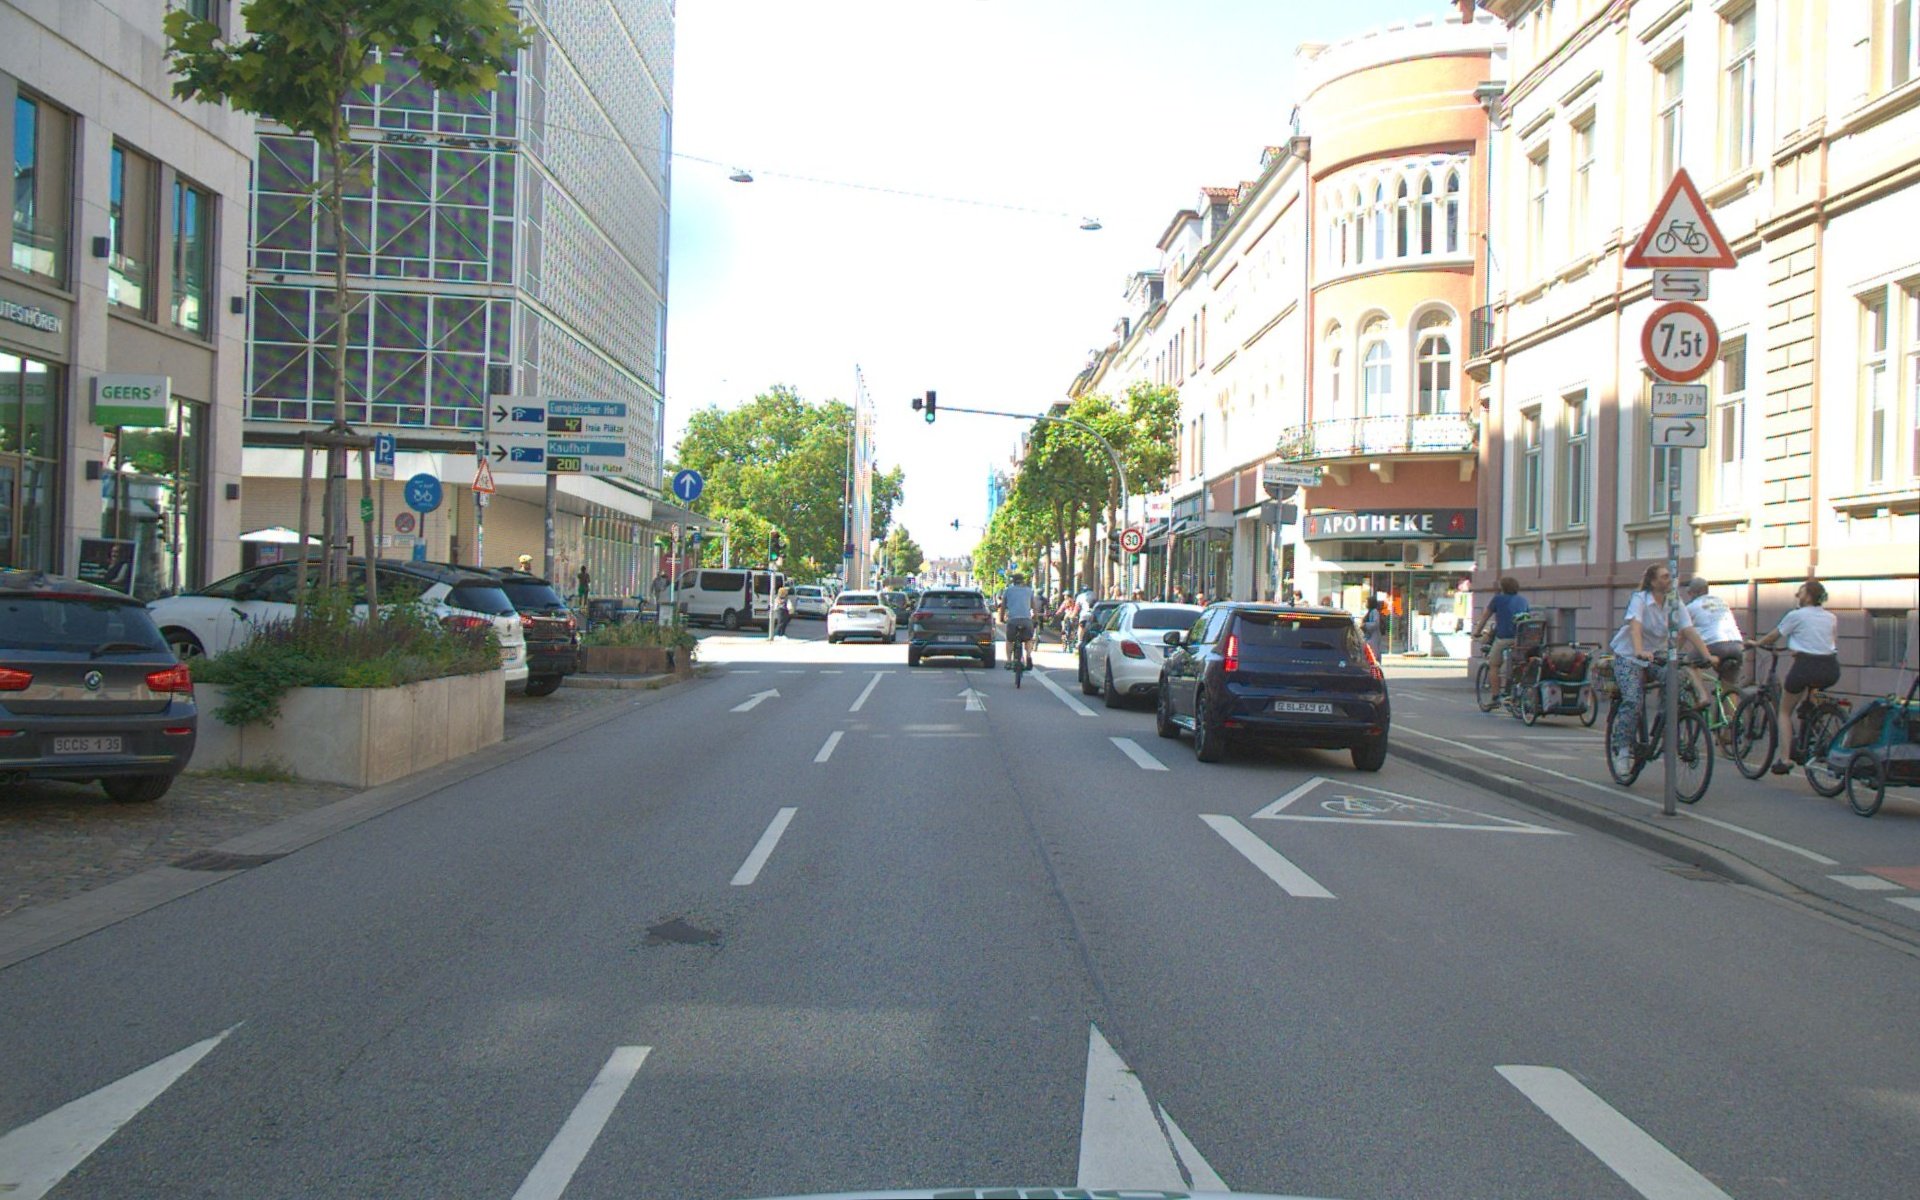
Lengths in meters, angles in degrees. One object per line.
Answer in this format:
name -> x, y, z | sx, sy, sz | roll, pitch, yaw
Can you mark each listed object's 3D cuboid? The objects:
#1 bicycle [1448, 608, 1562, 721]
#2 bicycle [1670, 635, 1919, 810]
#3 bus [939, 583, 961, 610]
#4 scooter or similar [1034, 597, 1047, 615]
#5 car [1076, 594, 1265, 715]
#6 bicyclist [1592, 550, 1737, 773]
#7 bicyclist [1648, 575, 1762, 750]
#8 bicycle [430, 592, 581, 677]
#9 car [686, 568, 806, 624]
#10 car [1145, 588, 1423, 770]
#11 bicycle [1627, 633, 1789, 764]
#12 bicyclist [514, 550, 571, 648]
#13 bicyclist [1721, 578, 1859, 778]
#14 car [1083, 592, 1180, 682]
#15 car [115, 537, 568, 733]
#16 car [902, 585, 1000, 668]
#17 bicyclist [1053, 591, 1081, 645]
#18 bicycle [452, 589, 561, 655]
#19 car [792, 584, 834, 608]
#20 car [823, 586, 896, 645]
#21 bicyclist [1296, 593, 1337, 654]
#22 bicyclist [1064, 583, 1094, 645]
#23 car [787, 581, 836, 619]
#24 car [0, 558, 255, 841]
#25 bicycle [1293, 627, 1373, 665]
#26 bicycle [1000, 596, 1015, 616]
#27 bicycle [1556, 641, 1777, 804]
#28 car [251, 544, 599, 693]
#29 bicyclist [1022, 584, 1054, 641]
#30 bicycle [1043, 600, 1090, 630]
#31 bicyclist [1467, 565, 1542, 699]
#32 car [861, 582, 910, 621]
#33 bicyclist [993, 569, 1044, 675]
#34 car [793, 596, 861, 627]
bicycle -> 7.079, 0.804, 21.610 | 0.717, 1.291, 2.283 | 2, 1, 1
bicycle -> 6.951, 0.931, 13.775 | 0.732, 1.146, 3.241 | 0, 1, 1
bus -> -1.481, -0.423, 236.328 | 2.934, 3.657, 11.741 | 2, -1, -1
scooter or similar -> 5.383, 0.396, 111.053 | 0.414, 1.198, 1.224 | 2, 0, -21
car -> 2.907, 0.703, 23.960 | 1.913, 1.449, 4.884 | 3, 0, -2
bicyclist -> 5.693, 0.479, 13.411 | 0.730, 1.732, 1.036 | 0, 0, 0
bicyclist -> 7.481, 0.595, 16.647 | 0.560, 1.690, 1.158 | 0, 1, -4
bicycle -> -6.876, 0.512, 25.053 | 2.096, 1.146, 0.485 | 3, 1, 0
car -> -8.189, -0.165, 63.157 | 4.358, 1.943, 2.002 | 2, 1, 36
car -> 3.159, 0.730, 17.023 | 1.848, 1.517, 4.289 | 4, -1, -2
bicycle -> 7.484, 0.946, 16.654 | 0.560, 1.146, 2.076 | 0, 1, -4
bicyclist -> -8.722, -0.025, 34.582 | 0.824, 1.994, 1.017 | 1, 0, 5
bicyclist -> 6.944, 0.628, 13.873 | 0.730, 1.600, 0.844 | 0, 2, 0
car -> 3.228, 0.672, 30.550 | 1.594, 1.504, 3.734 | 2, -1, 8
car -> -6.742, 0.355, 18.322 | 4.071, 1.665, 2.104 | 5, 0, 8
car -> -0.244, 0.500, 33.844 | 1.809, 1.586, 3.998 | 1, 0, -3
bicyclist -> 2.815, 0.486, 43.449 | 0.588, 1.381, 0.720 | 3, -1, -4
bicycle -> -8.473, 0.398, 30.911 | 2.017, 1.146, 0.646 | 2, 0, 26
car -> -13.153, -0.371, 147.957 | 1.821, 1.989, 4.761 | 1, -1, 20
car -> -2.807, 0.413, 46.920 | 1.808, 1.587, 4.000 | 1, 0, 0
bicyclist -> 8.475, 0.549, 39.362 | 0.841, 1.436, 0.501 | 1, 0, 0
bicyclist -> 2.934, 0.334, 40.854 | 0.617, 1.507, 1.198 | 1, 0, -1
car -> -6.677, -0.026, 74.679 | 1.762, 1.549, 4.738 | 2, 1, 0
car -> -6.732, 0.469, 10.825 | 4.230, 1.474, 1.782 | 5, 1, 33
bicycle -> 8.880, 1.088, 39.369 | 1.784, 0.859, 0.501 | 1, 0, 0
bicycle -> 2.426, 0.294, 84.697 | 0.634, 1.015, 2.030 | 2, 0, -1
bicycle -> 5.674, 0.938, 13.489 | 0.726, 1.146, 2.573 | 0, 0, 1
car -> -7.011, 0.233, 21.726 | 3.940, 1.630, 1.958 | 4, -1, 22
bicyclist -> 2.031, 0.325, 43.371 | 0.684, 1.466, 0.790 | 3, 0, -4
bicycle -> 4.251, 0.600, 66.024 | 1.802, 1.112, 0.564 | 3, 0, -1
bicyclist -> 7.084, 0.408, 21.560 | 0.716, 1.703, 0.774 | 0, 0, 0
car -> -2.889, 0.048, 64.753 | 1.808, 1.474, 3.999 | 1, 0, -1
bicyclist -> 0.937, 0.342, 26.657 | 0.758, 1.664, 0.851 | 1, 0, 0
car -> -7.903, 0.676, 99.037 | 1.854, 1.568, 4.859 | 2, 3, 26
